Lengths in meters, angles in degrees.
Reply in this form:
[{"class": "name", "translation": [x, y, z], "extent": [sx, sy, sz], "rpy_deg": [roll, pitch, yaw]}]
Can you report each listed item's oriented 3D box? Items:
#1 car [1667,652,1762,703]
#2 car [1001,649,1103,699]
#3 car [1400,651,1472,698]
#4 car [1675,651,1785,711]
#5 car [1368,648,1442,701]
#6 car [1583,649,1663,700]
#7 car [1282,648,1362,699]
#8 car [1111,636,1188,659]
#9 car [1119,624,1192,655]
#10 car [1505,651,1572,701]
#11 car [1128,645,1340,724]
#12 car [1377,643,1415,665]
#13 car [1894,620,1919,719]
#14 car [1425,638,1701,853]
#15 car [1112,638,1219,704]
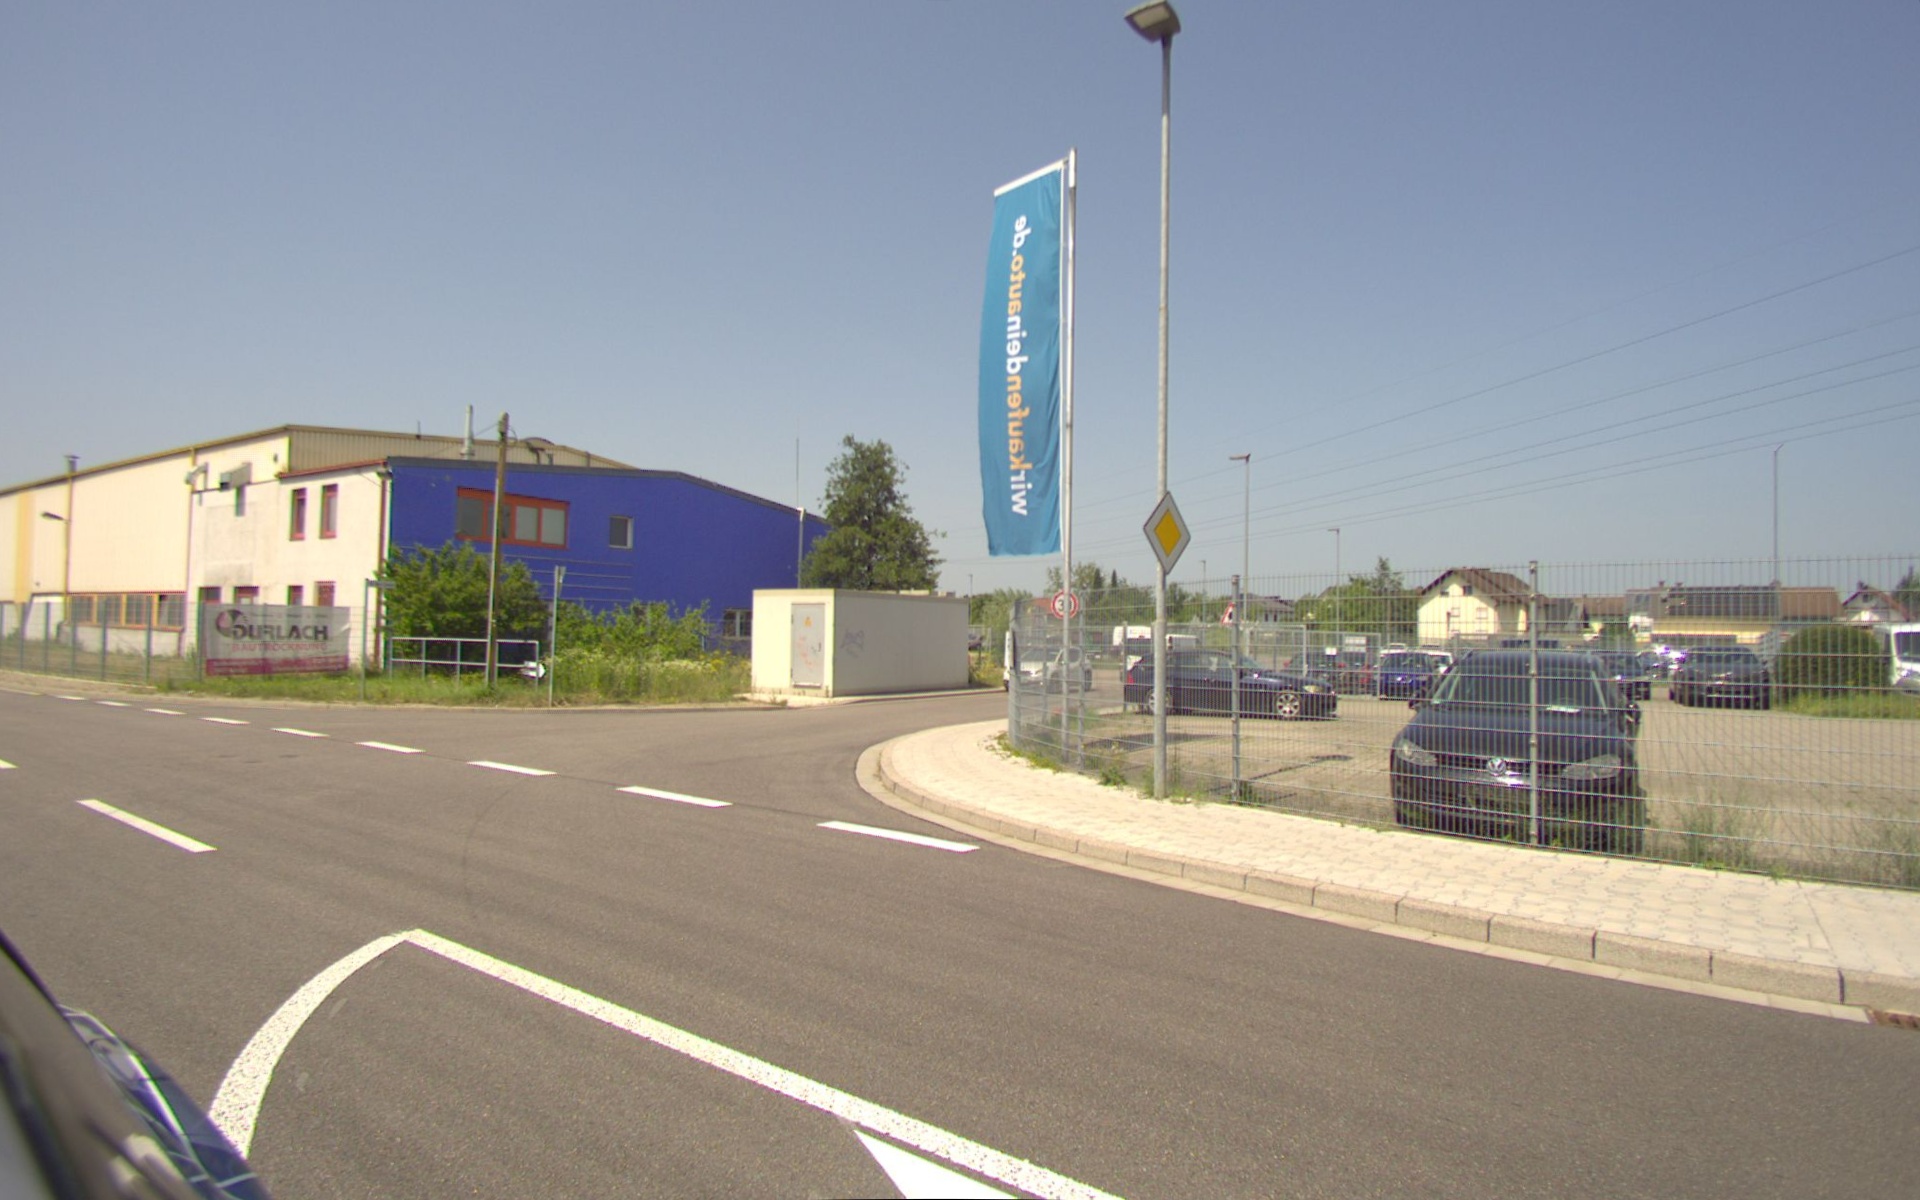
[{"class": "car", "translation": [22.766, 2.302, 30.677], "extent": [1.892, 1.431, 4.154], "rpy_deg": [-1, -4, 31]}, {"class": "car", "translation": [3.104, 2.380, 33.465], "extent": [1.768, 1.514, 4.118], "rpy_deg": [-1, -3, 31]}, {"class": "car", "translation": [16.415, 2.533, 34.792], "extent": [1.769, 1.514, 3.956], "rpy_deg": [-2, -4, 32]}, {"class": "car", "translation": [20.278, 2.094, 26.815], "extent": [1.867, 1.431, 4.033], "rpy_deg": [-1, -4, 31]}, {"class": "car", "translation": [13.838, 2.279, 31.348], "extent": [1.767, 1.514, 3.773], "rpy_deg": [-1, -4, 29]}, {"class": "car", "translation": [21.112, 2.335, 32.355], "extent": [1.767, 1.514, 3.961], "rpy_deg": [-1, -4, 29]}, {"class": "car", "translation": [11.449, 2.279, 31.899], "extent": [1.767, 1.514, 3.961], "rpy_deg": [-1, -4, 29]}, {"class": "car", "translation": [12.108, 3.042, 64.582], "extent": [4.544, 1.438, 1.986], "rpy_deg": [-1, -3, 21]}, {"class": "car", "translation": [13.011, 2.619, 67.317], "extent": [4.612, 2.029, 1.989], "rpy_deg": [0, -3, 16]}, {"class": "car", "translation": [18.872, 2.462, 33.150], "extent": [1.767, 1.514, 3.961], "rpy_deg": [-1, -4, 29]}, {"class": "car", "translation": [5.767, 1.730, 21.454], "extent": [3.989, 1.514, 1.755], "rpy_deg": [-2, -4, 34]}, {"class": "car", "translation": [31.402, 3.882, 72.844], "extent": [1.771, 1.514, 4.113], "rpy_deg": [-1, -3, 34]}, {"class": "car", "translation": [23.346, 1.625, 23.654], "extent": [1.999, 2.213, 4.263], "rpy_deg": [-2, -4, 41]}, {"class": "car", "translation": [5.499, 1.146, 9.360], "extent": [1.768, 1.514, 3.958], "rpy_deg": [-1, -4, 31]}, {"class": "car", "translation": [7.198, 2.417, 35.094], "extent": [2.003, 2.076, 4.759], "rpy_deg": [0, -3, 33]}]
